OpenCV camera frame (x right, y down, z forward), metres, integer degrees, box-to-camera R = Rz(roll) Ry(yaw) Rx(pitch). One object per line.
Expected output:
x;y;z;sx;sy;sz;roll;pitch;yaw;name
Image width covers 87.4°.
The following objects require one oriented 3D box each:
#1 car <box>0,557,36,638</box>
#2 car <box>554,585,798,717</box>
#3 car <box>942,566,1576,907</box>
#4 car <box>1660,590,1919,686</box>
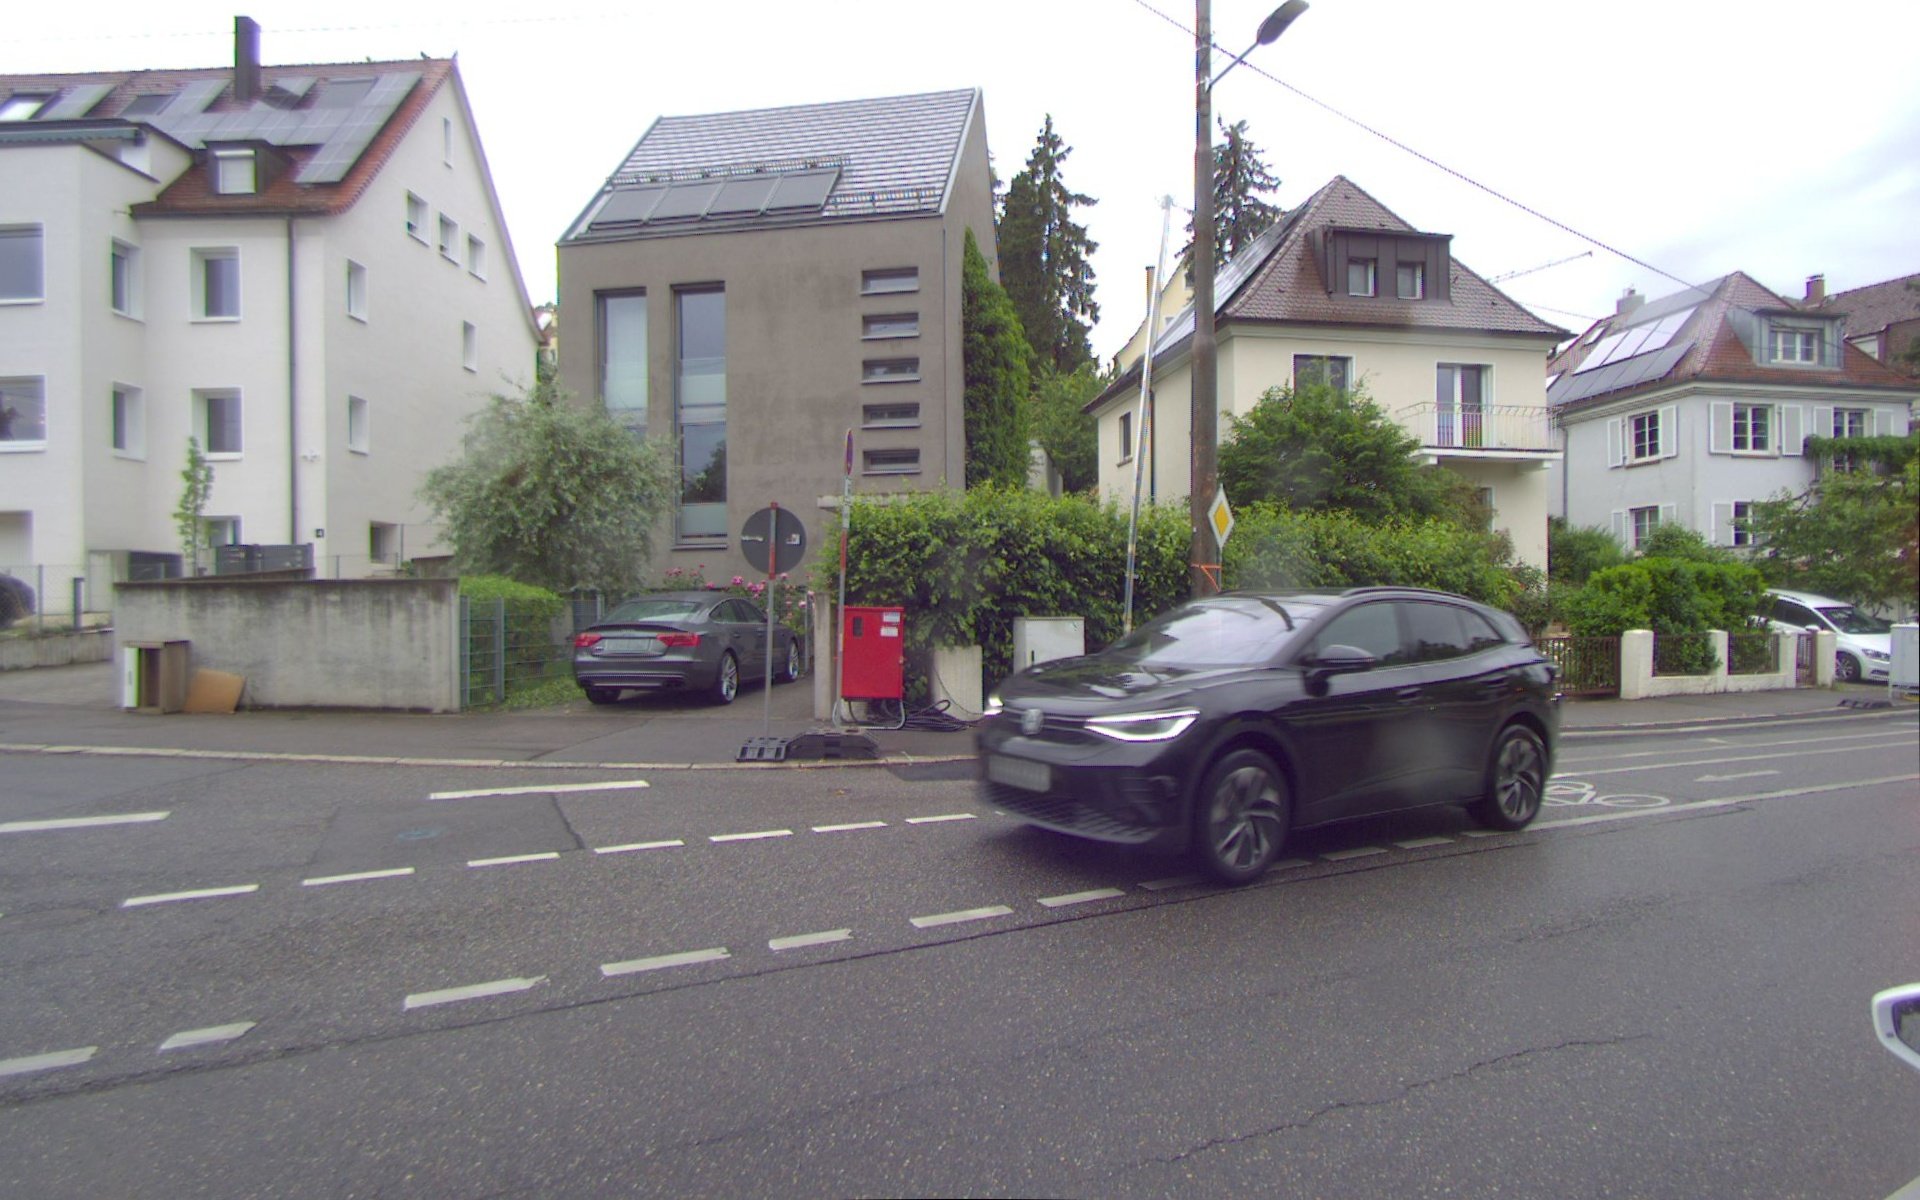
-16.735;0.044;15.173;1.576;1.298;4.008;2;4;6;car
-3.612;0.558;13.579;1.740;1.506;4.002;0;1;7;car
2.118;0.695;6.756;4.120;1.643;1.856;2;0;-33;car
19.593;0.810;23.915;1.870;2.033;4.628;1;0;-18;car
